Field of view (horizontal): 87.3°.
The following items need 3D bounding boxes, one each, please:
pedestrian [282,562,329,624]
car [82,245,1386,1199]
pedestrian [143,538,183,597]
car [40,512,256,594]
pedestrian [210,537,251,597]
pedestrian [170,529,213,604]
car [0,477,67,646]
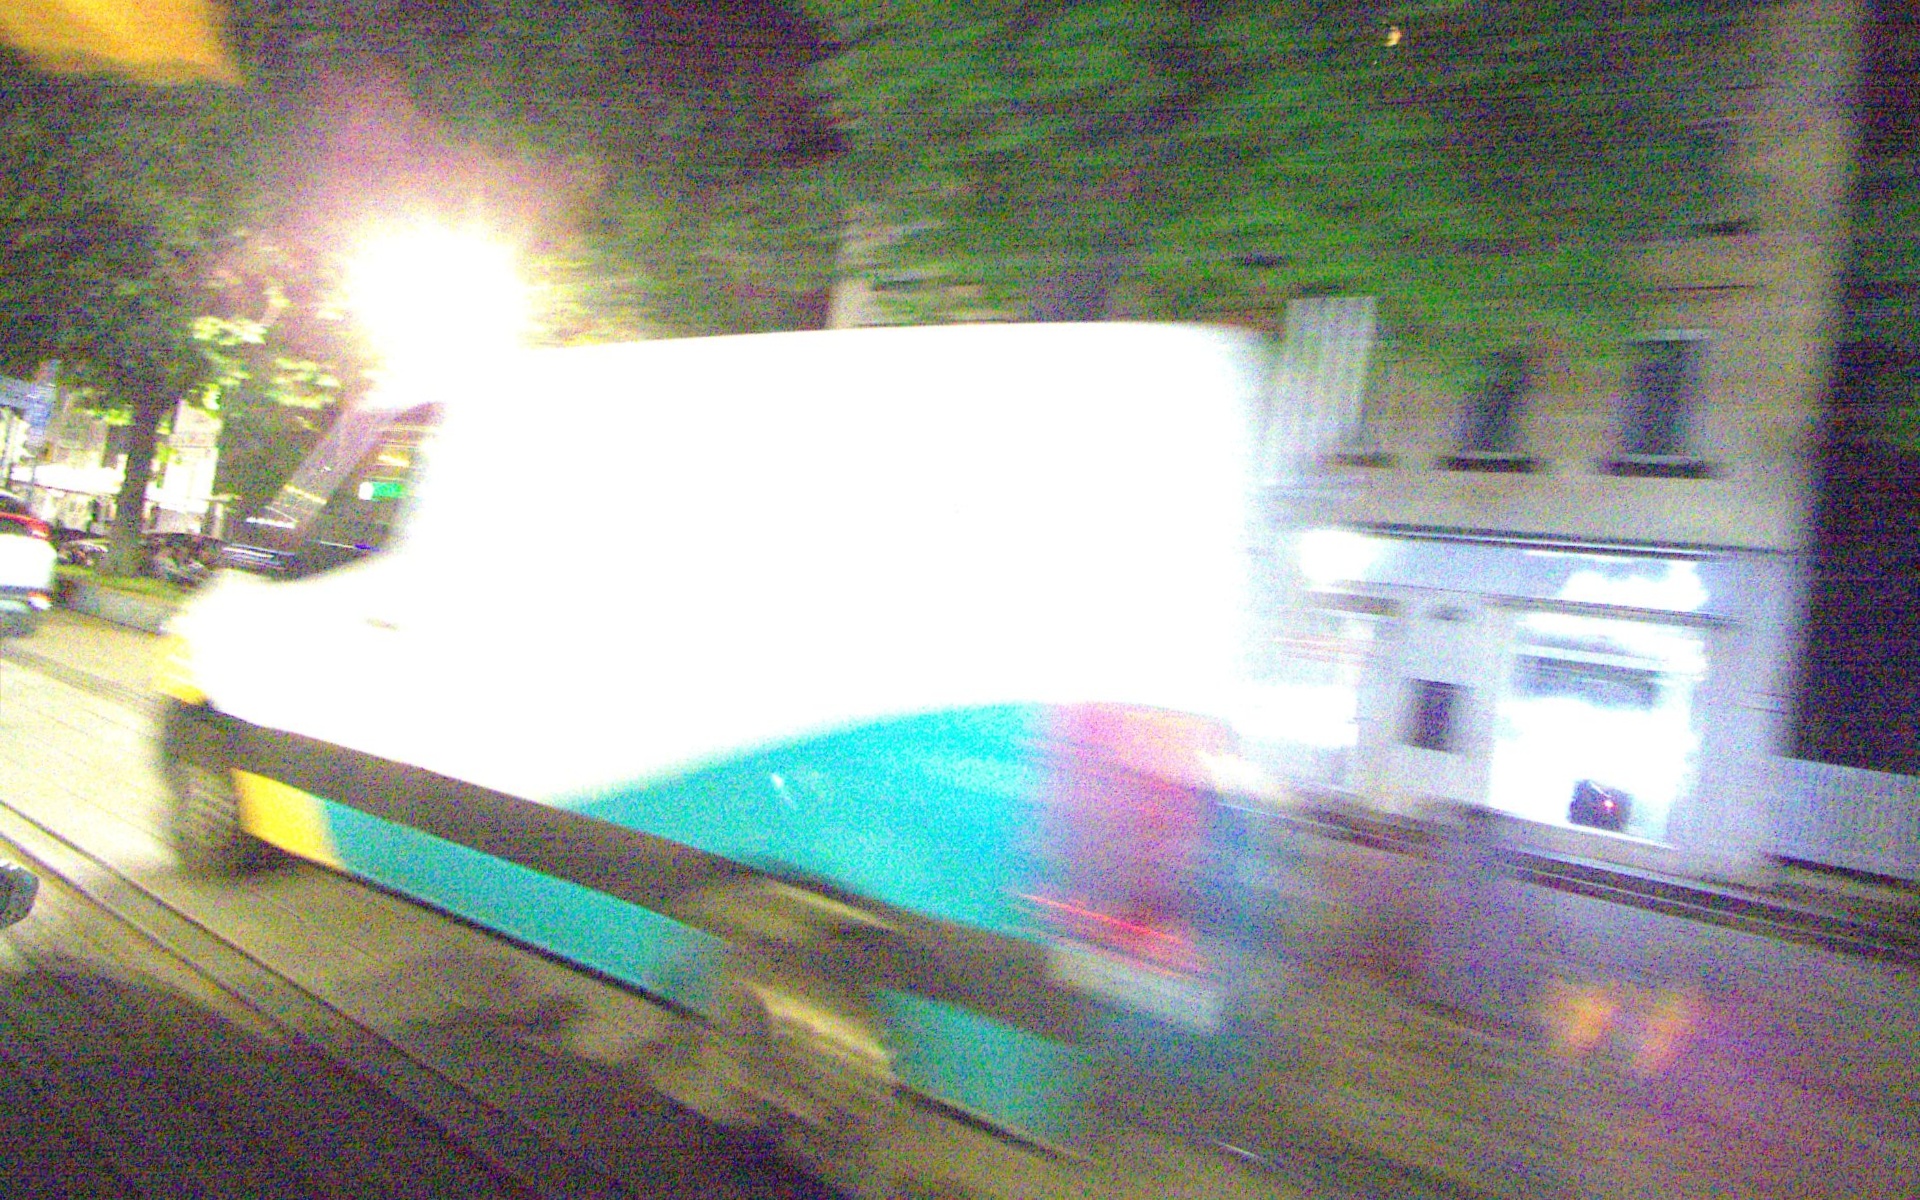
[{"bbox_3d":[-14.601,-0.160,22.460,0.677,1.277,0.525,10,-3,-31],"label":"pedestrian"},{"bbox_3d":[-1.181,0.281,4.286,5.065,2.352,2.140,7,-3,31],"label":"car"},{"bbox_3d":[-17.062,-0.687,21.546,0.386,1.181,0.516,9,-2,-23],"label":"pedestrian"},{"bbox_3d":[-23.052,-1.285,28.746,1.773,1.548,4.328,6,-4,30],"label":"car"},{"bbox_3d":[-16.547,-0.746,22.828,0.524,1.277,0.499,10,-2,-28],"label":"pedestrian"},{"bbox_3d":[-17.372,-0.749,22.740,0.476,1.605,0.370,9,-2,-23],"label":"pedestrian"},{"bbox_3d":[-11.806,-0.681,10.964,4.224,1.677,1.689,7,-3,30],"label":"car"}]
